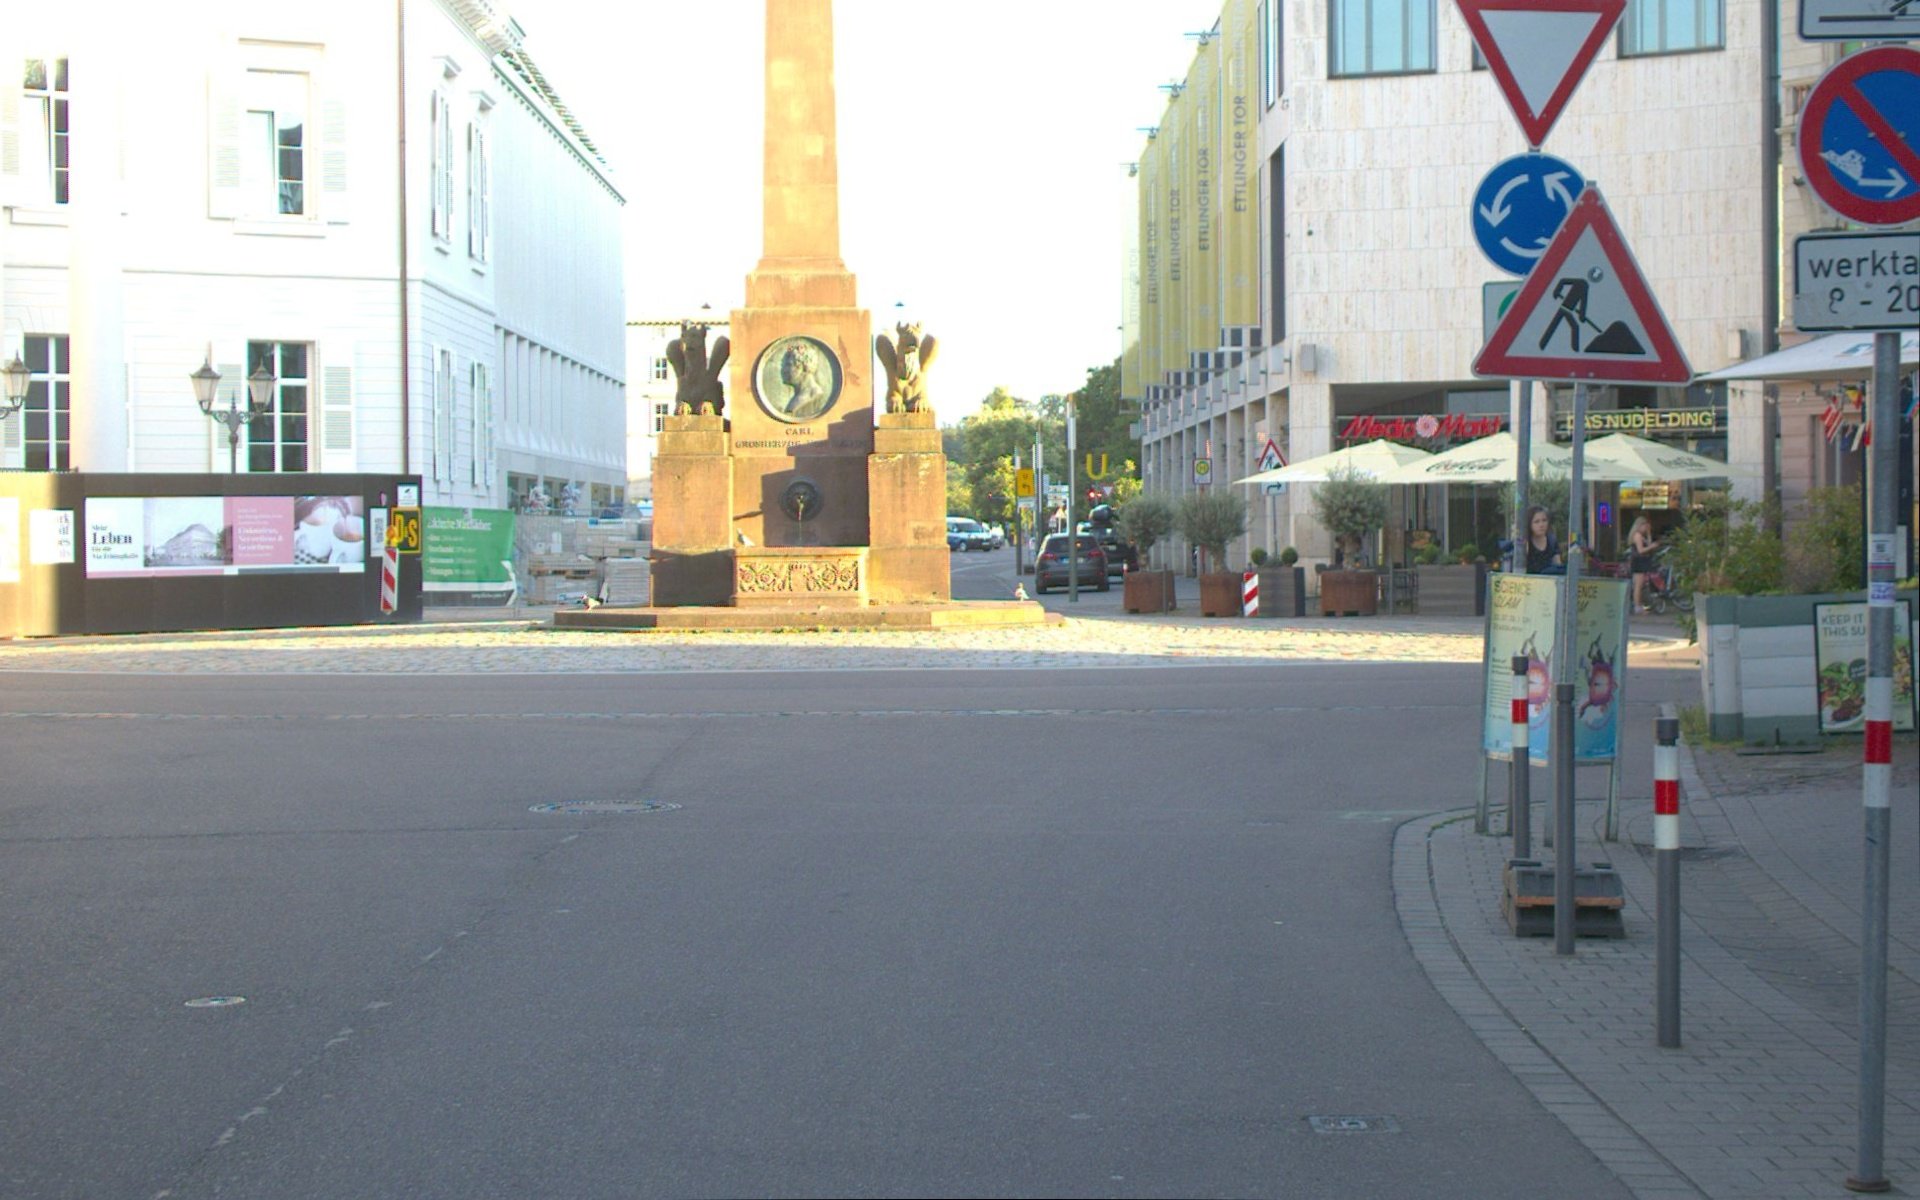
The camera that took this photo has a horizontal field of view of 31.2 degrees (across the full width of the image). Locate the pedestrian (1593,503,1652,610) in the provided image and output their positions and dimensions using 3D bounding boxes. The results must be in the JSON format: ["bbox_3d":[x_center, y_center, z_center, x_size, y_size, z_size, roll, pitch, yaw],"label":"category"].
[{"bbox_3d":[10.835,-0.713,56.220,0.905,1.722,0.849,0,1,8],"label":"pedestrian"}]

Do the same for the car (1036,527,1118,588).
[{"bbox_3d":[2.891,-1.067,85.435,1.993,1.459,4.000,0,1,1],"label":"car"}]

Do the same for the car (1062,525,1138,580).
[{"bbox_3d":[3.810,-1.303,93.899,1.993,1.459,4.000,0,1,1],"label":"car"}]

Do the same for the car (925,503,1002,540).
[{"bbox_3d":[0.192,-4.304,189.591,3.997,2.007,1.995,1,2,45],"label":"car"}]

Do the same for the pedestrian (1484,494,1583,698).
[{"bbox_3d":[4.700,-0.040,28.205,0.690,1.642,0.696,-1,1,-1],"label":"pedestrian"}]
